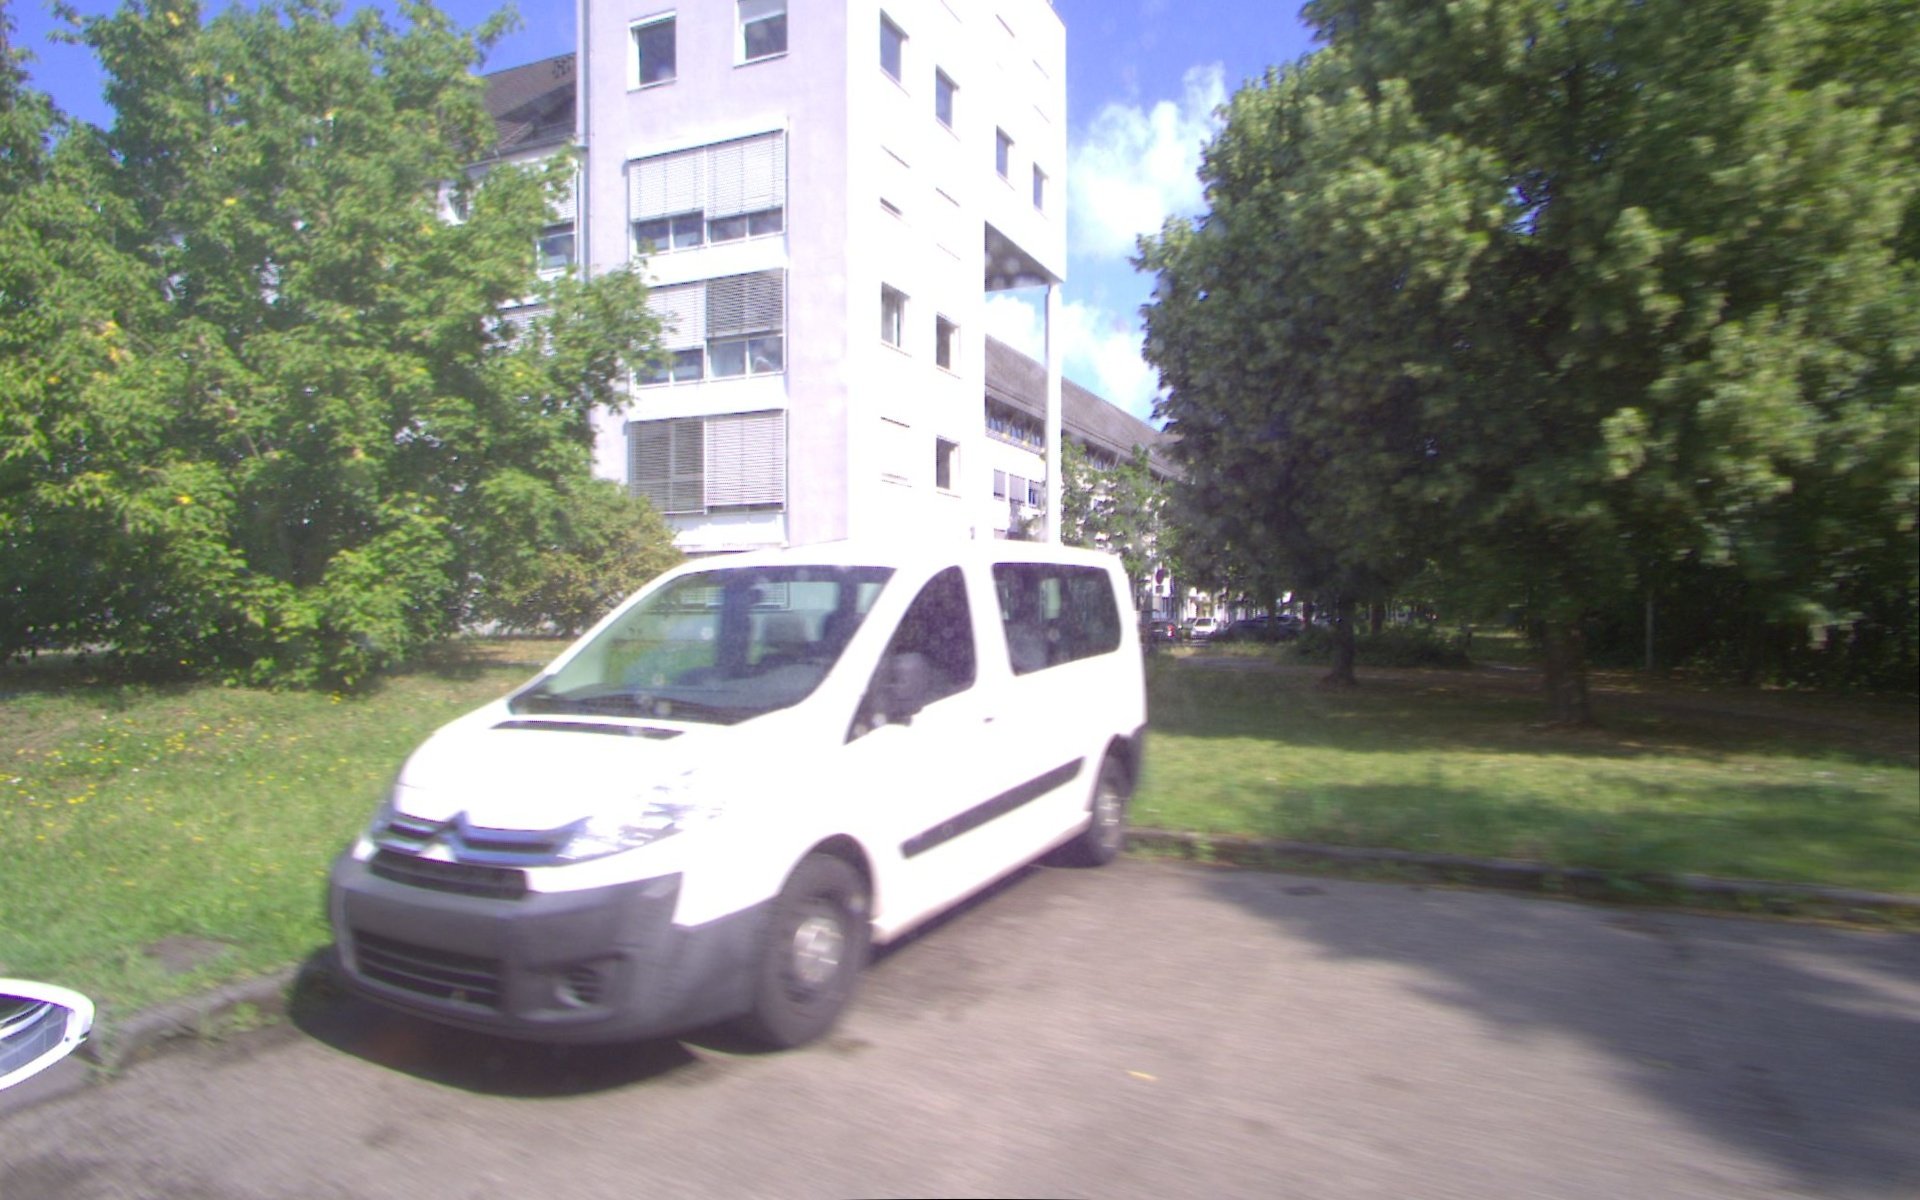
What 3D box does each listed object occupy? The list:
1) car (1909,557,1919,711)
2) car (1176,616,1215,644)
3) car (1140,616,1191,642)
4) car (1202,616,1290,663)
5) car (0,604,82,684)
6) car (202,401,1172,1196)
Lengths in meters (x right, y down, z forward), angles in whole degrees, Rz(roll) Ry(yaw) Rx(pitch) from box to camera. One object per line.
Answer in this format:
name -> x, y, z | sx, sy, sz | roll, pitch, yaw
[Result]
car -> 22.387, 0.663, 18.616 | 6.843, 3.087, 1.999 | 0, -1, 12
car -> 16.447, 2.067, 69.926 | 1.818, 1.707, 3.984 | 2, 3, 26
car -> 12.614, 1.813, 61.216 | 1.818, 1.445, 4.167 | -2, -3, 31
car -> 14.504, 1.964, 50.790 | 3.938, 2.042, 1.990 | 2, 3, 29
car -> -20.564, 0.879, 20.050 | 1.725, 1.626, 4.119 | -1, -3, 22
car -> -0.593, 0.542, 5.158 | 1.969, 1.990, 4.935 | 0, -1, 29
